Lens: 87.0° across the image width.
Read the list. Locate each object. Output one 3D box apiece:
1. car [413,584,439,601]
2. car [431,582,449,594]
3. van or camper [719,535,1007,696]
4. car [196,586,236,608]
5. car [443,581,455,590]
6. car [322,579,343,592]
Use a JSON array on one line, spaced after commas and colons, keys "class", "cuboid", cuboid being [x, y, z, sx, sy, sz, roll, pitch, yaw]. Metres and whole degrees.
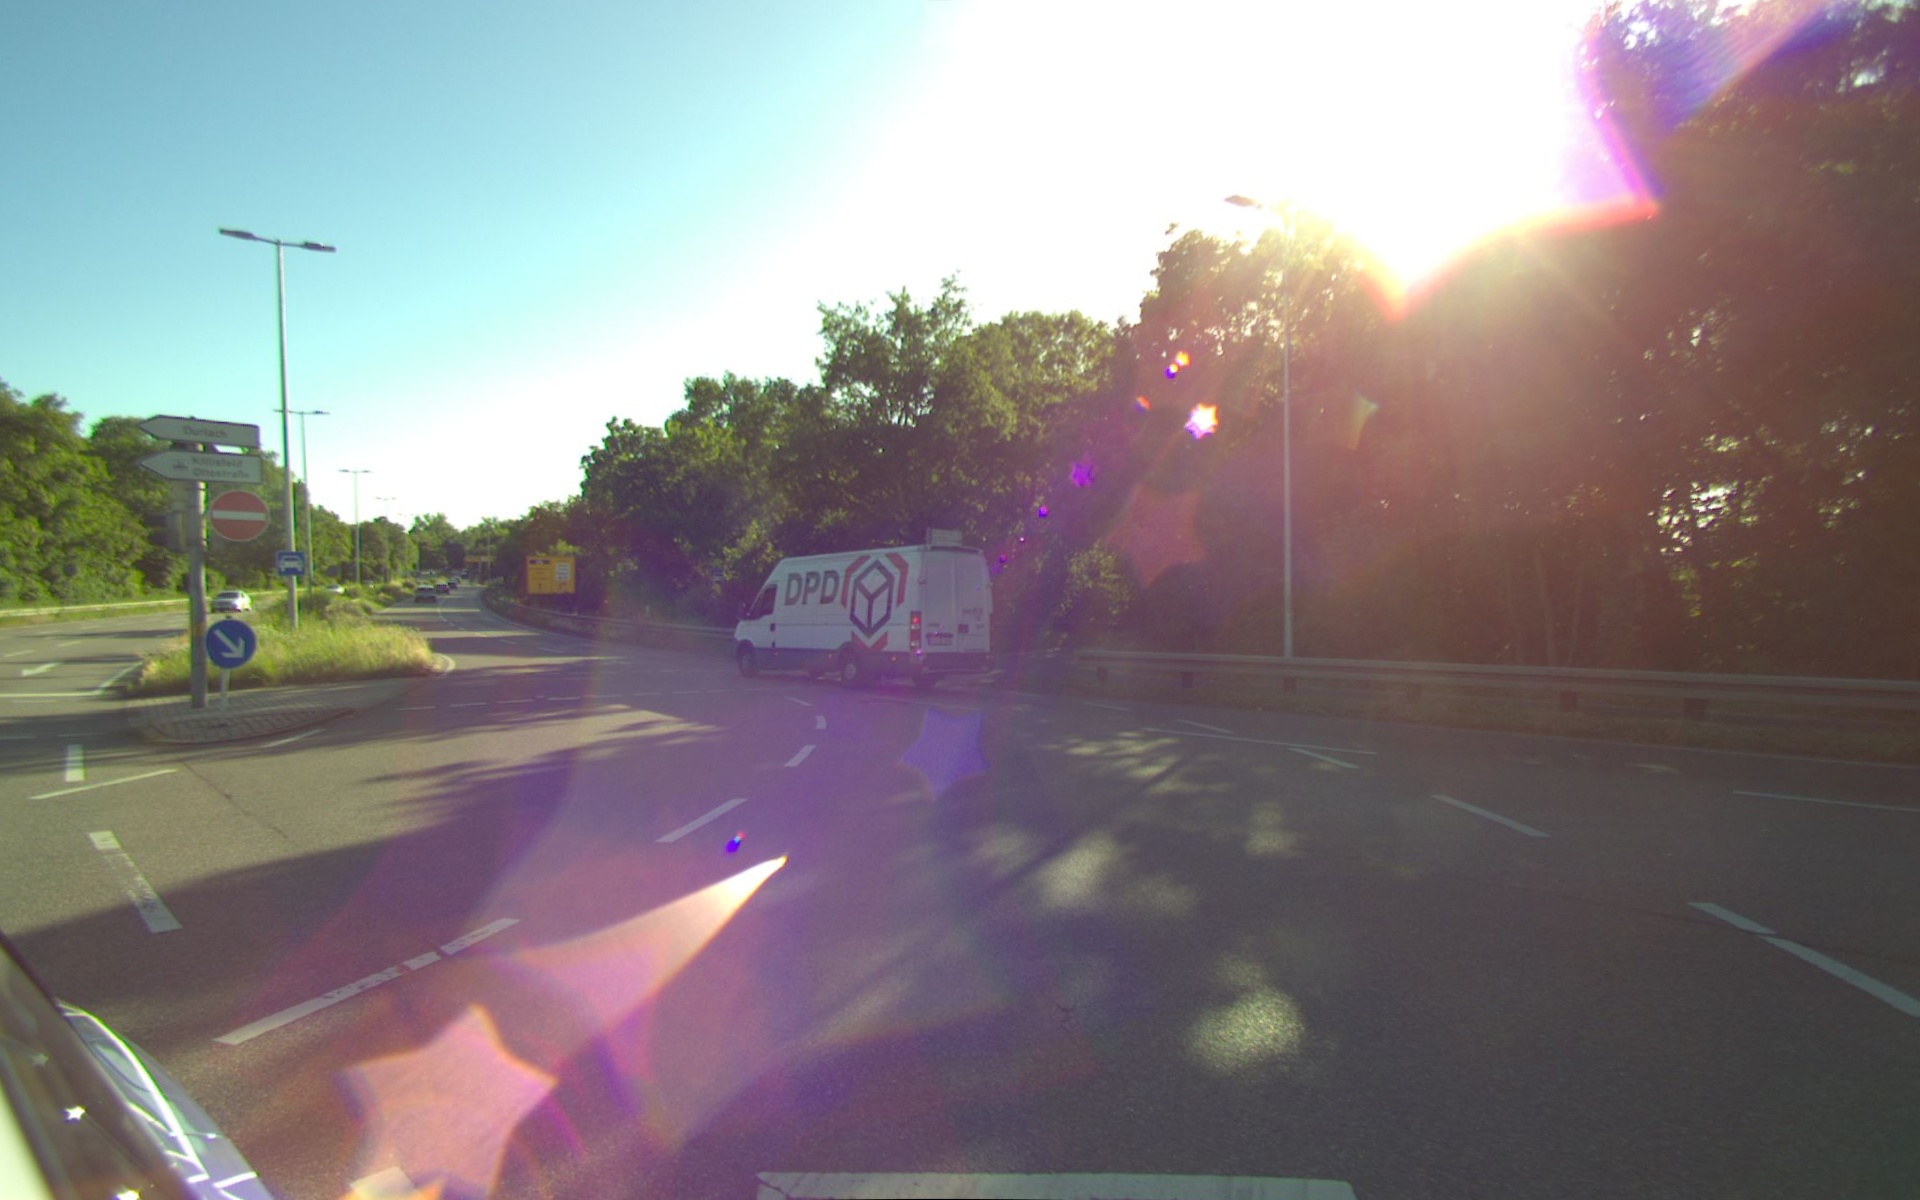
[{"class": "car", "cuboid": [-49.796, -0.708, 94.430, 1.858, 1.532, 4.231, 0, 0, -24]}, {"class": "car", "cuboid": [-66.654, -1.528, 129.817, 1.859, 1.431, 4.379, 2, 0, -25]}, {"class": "van or camper", "cuboid": [-2.208, 0.302, 20.194, 2.024, 2.693, 6.943, 3, -2, -41]}, {"class": "car", "cuboid": [-50.536, -0.202, 68.837, 1.654, 1.497, 3.401, 0, 0, -27]}, {"class": "car", "cuboid": [-88.050, -2.478, 174.393, 1.780, 1.427, 4.546, 1, 1, -28]}, {"class": "car", "cuboid": [-75.928, -1.717, 122.436, 1.878, 1.497, 3.355, 0, 0, -27]}]
